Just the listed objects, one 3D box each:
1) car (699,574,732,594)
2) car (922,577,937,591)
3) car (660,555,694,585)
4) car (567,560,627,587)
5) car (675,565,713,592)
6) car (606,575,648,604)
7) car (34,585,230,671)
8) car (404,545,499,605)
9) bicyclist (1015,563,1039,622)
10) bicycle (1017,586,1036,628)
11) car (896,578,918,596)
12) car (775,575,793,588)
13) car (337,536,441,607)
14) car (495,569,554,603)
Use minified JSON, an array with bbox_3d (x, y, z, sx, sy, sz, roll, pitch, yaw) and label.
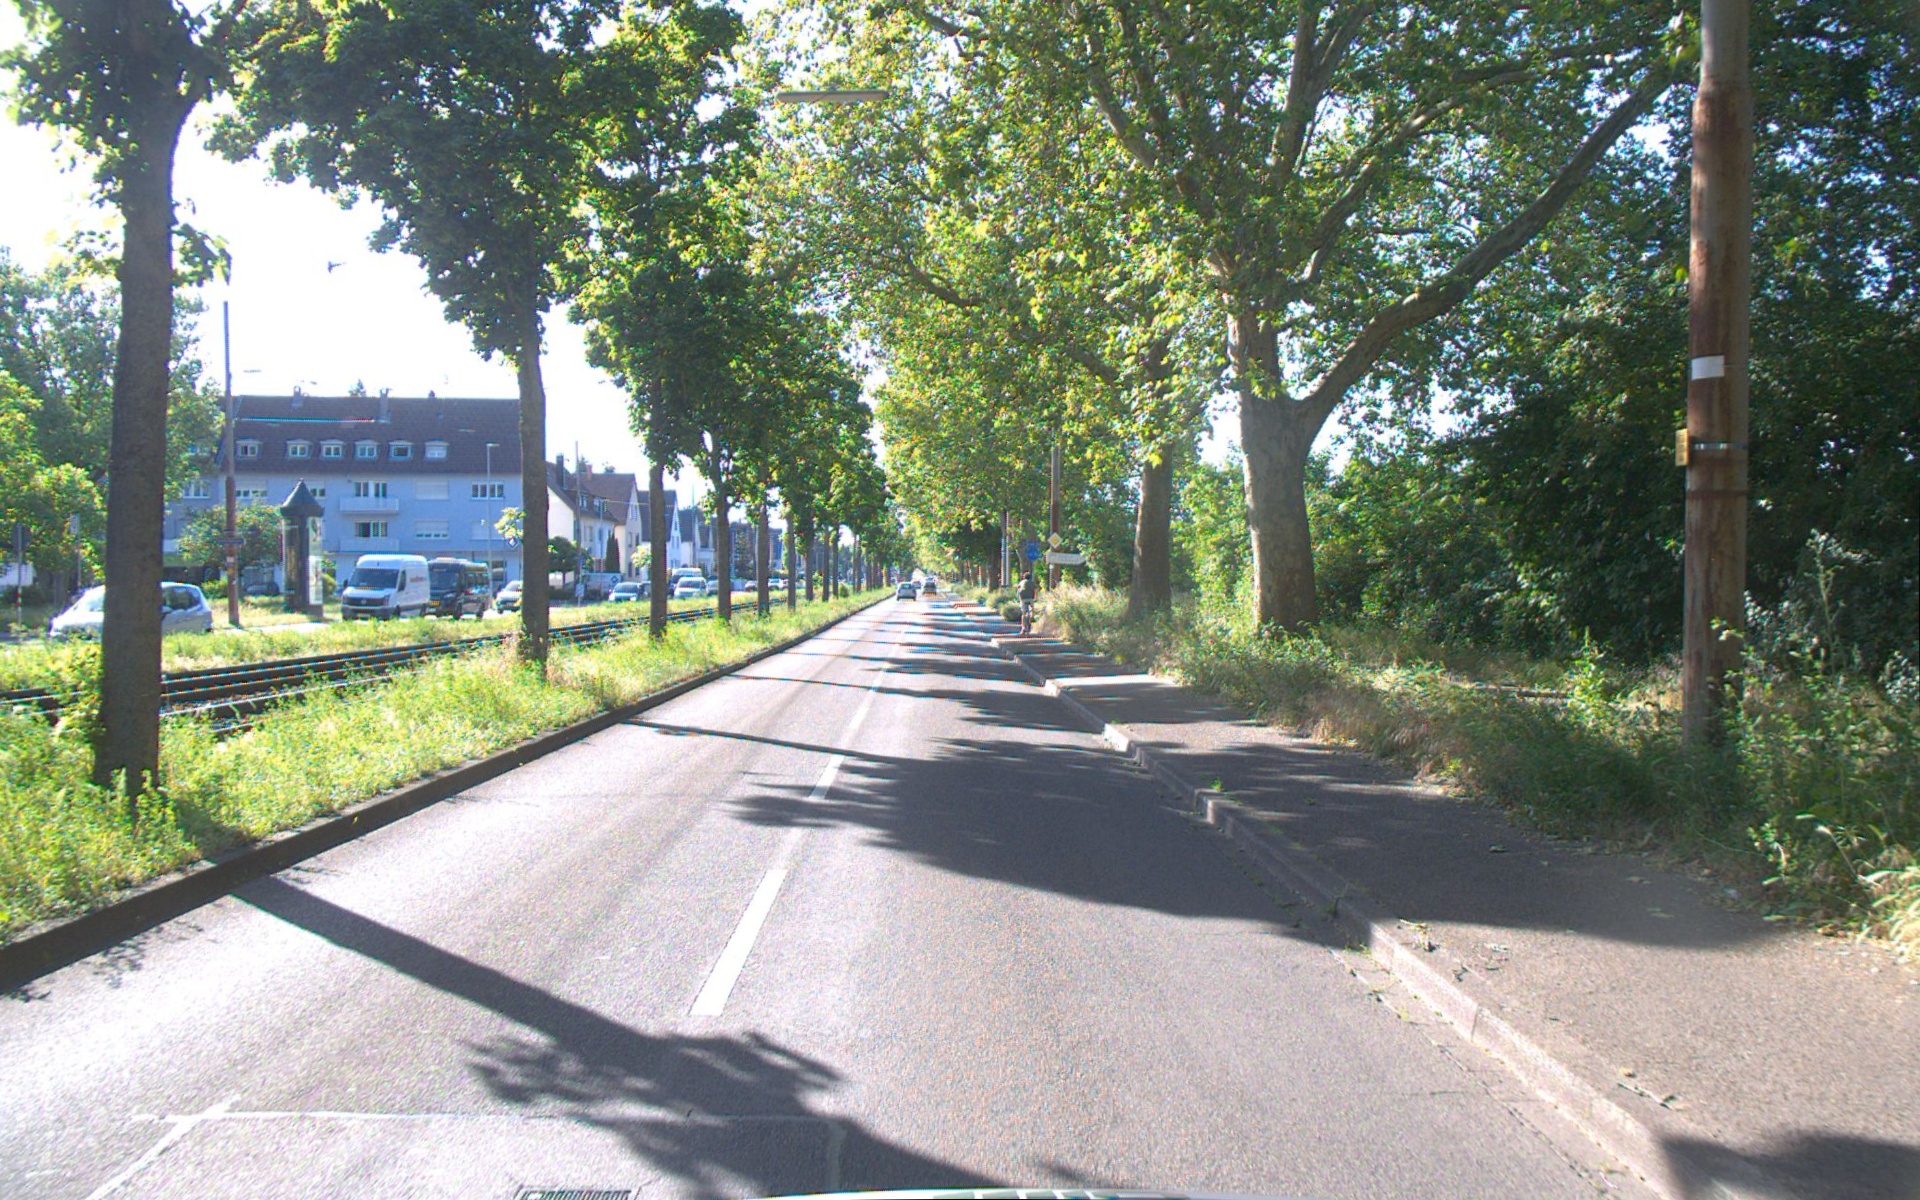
[{"bbox_3d":[-18.655,-1.229,126.469,1.953,1.558,3.751,0,1,0],"label":"car"},{"bbox_3d":[-3.487,-1.833,188.981,1.725,1.539,3.276,2,0,-1],"label":"car"},{"bbox_3d":[-24.730,-2.609,144.751,1.953,2.502,6.673,2,0,-2],"label":"car"},{"bbox_3d":[-28.300,-2.062,129.167,4.536,1.979,1.994,1,1,-12],"label":"car"},{"bbox_3d":[-17.856,-1.433,111.141,1.774,1.774,4.981,2,0,-1],"label":"car"},{"bbox_3d":[-17.644,-0.562,87.704,1.525,1.419,3.819,2,0,-2],"label":"car"},{"bbox_3d":[-16.475,0.514,33.181,1.692,1.554,4.442,2,0,-1],"label":"car"},{"bbox_3d":[-21.725,-1.053,70.947,2.138,2.417,6.463,2,0,-1],"label":"car"},{"bbox_3d":[1.913,-0.216,47.346,0.601,1.657,0.909,0,1,-1],"label":"bicyclist"},{"bbox_3d":[1.909,0.178,47.421,0.431,1.173,1.823,0,1,-1],"label":"bicycle"},{"bbox_3d":[-4.245,-1.052,132.460,1.703,1.425,3.276,2,0,-1],"label":"car"},{"bbox_3d":[-20.041,-2.099,188.455,1.642,1.434,3.999,0,1,-1],"label":"car"},{"bbox_3d":[-21.807,-1.074,63.415,1.961,2.540,6.135,2,0,-2],"label":"car"},{"bbox_3d":[-22.221,-0.704,84.596,1.786,1.635,4.773,2,0,-1],"label":"car"}]
